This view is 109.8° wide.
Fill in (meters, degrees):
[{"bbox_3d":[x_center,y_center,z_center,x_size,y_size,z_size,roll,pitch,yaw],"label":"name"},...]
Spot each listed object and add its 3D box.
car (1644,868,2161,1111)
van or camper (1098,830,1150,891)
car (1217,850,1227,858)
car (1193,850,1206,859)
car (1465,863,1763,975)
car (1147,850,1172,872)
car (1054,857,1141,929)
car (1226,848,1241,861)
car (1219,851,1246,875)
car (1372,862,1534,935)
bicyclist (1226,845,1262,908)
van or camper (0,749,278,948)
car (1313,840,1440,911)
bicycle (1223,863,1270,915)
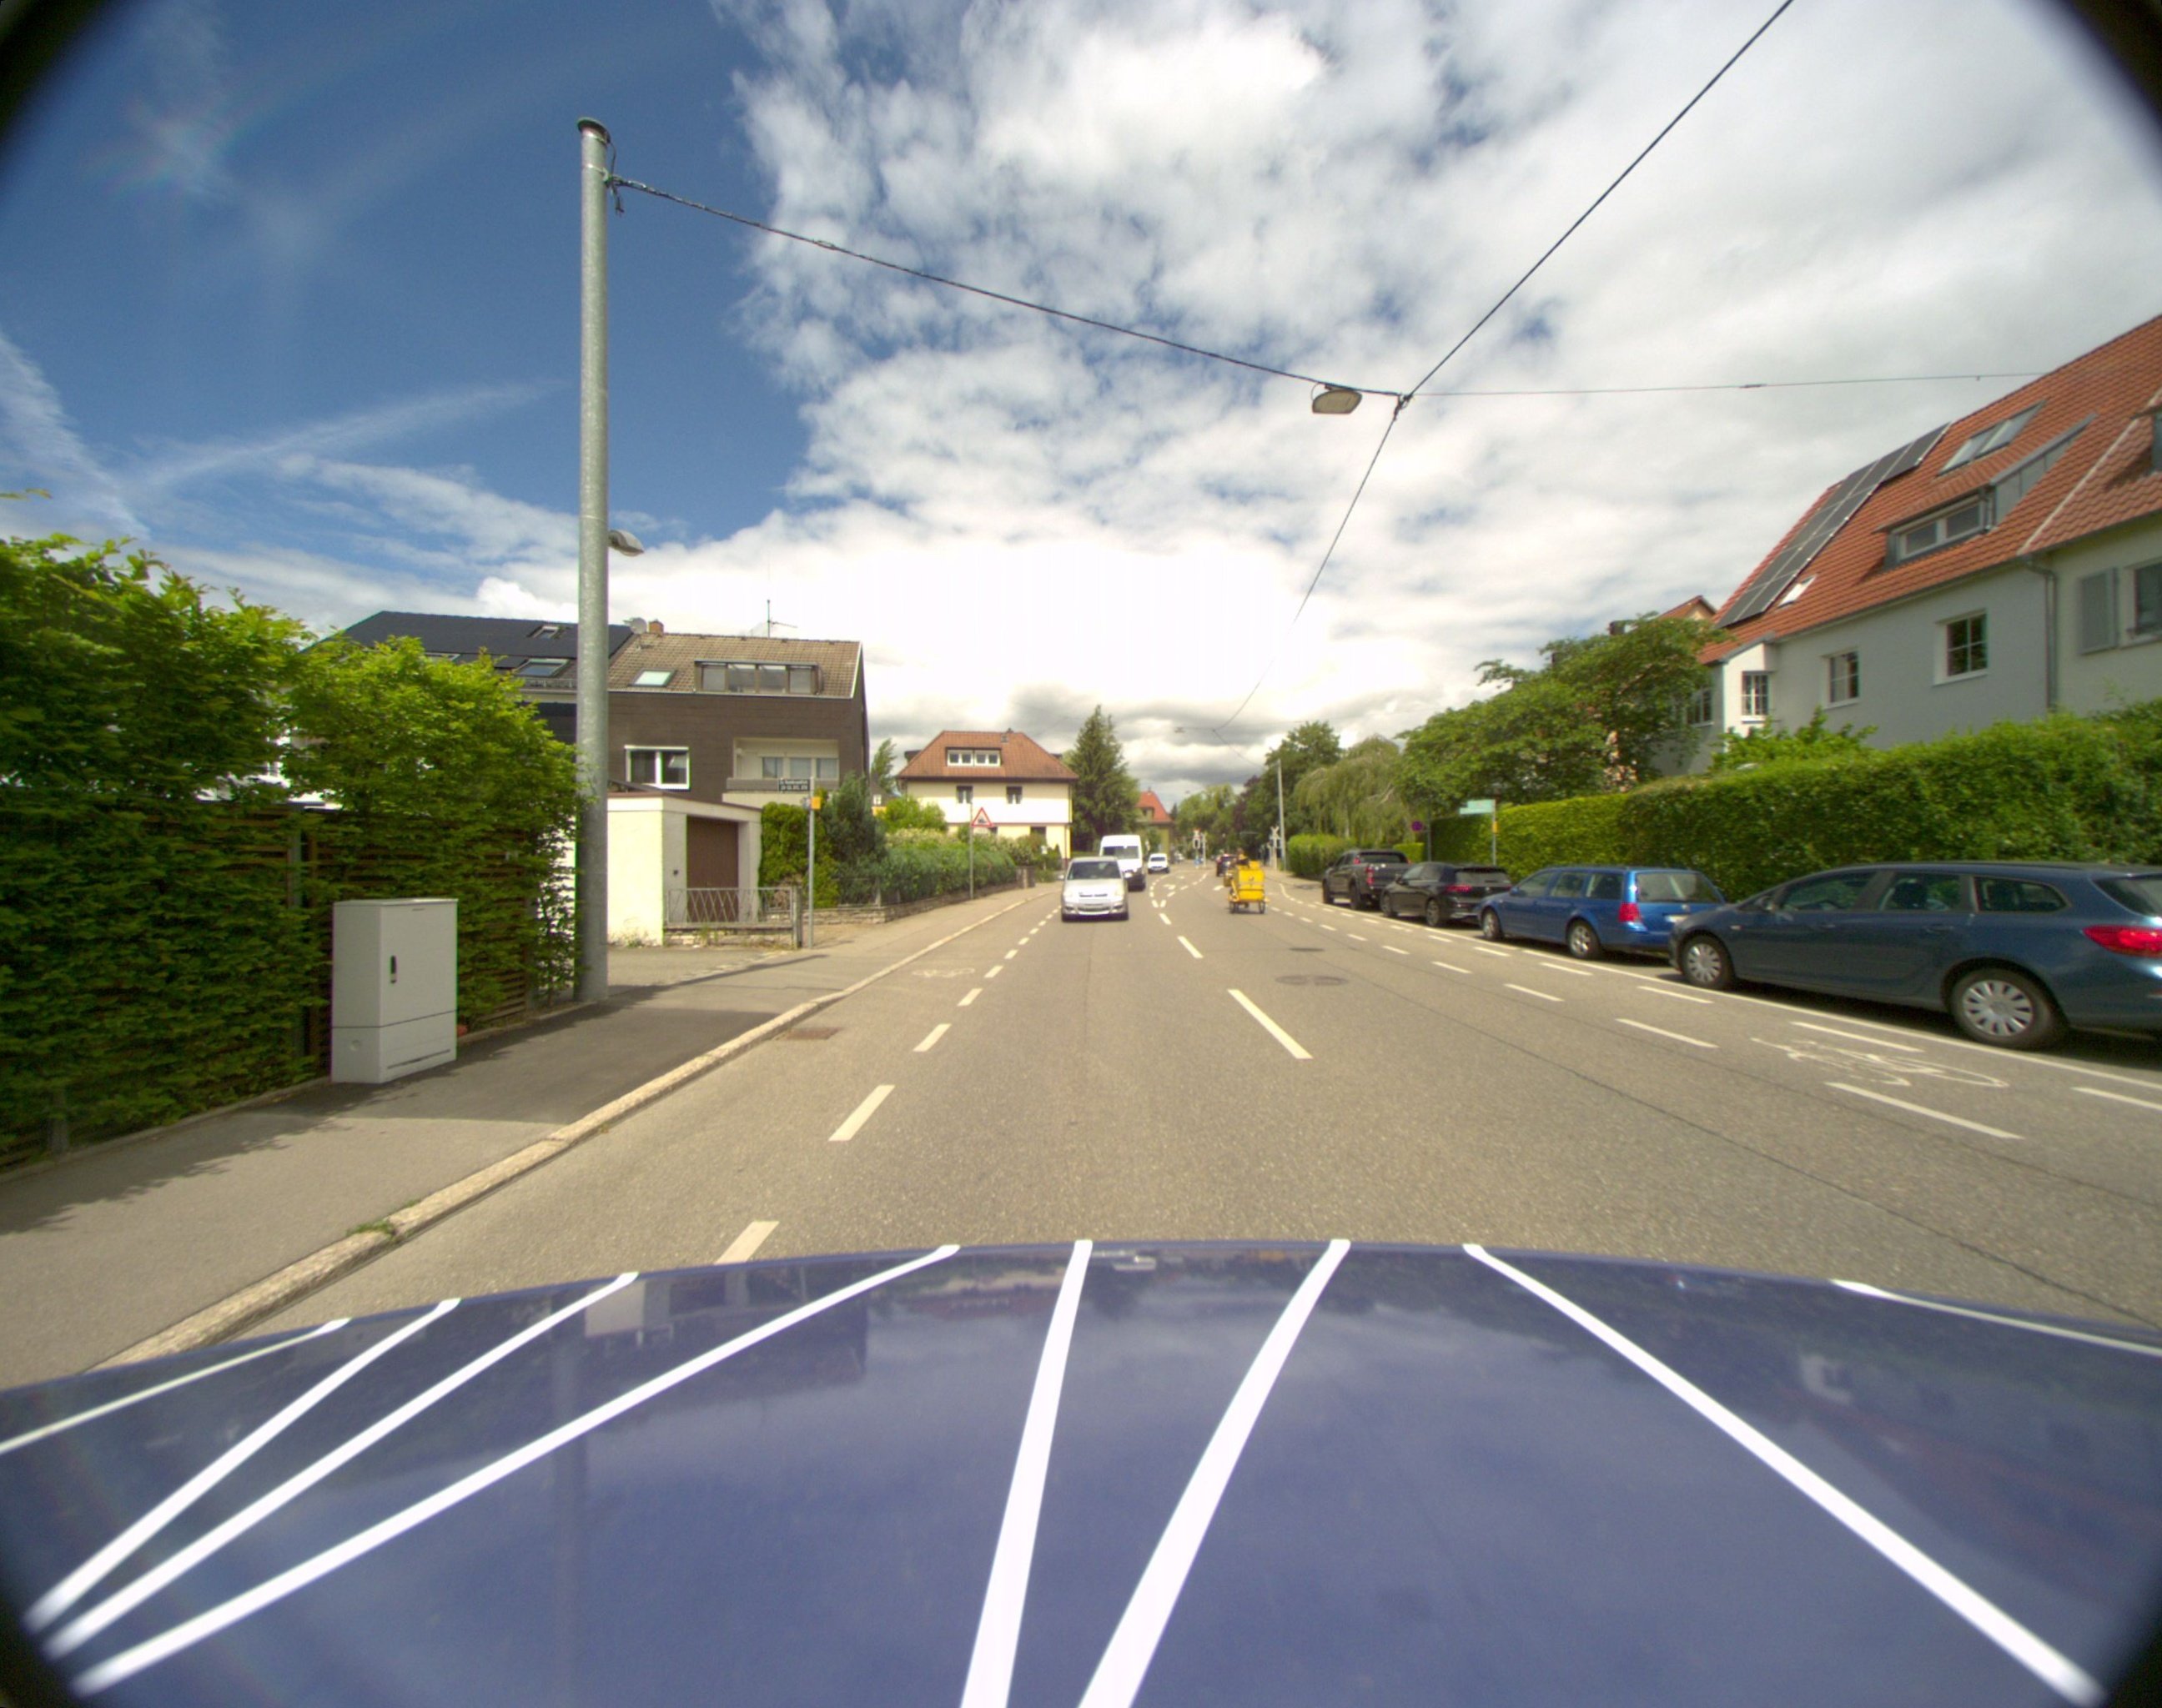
[{"bbox_3d":[7.999,0.946,7.220,1.782,1.483,4.564,-1,0,-2],"label":"car"},{"bbox_3d":[2.136,0.325,35.700,2.029,2.564,5.926,-3,-1,6],"label":"van or camper"},{"bbox_3d":[28.211,-0.028,152.019,1.931,1.412,4.003,-2,0,12],"label":"car"},{"bbox_3d":[22.248,0.050,142.476,1.997,1.419,4.003,-3,1,13],"label":"car"},{"bbox_3d":[8.270,0.894,12.405,1.782,1.409,4.440,-1,0,1],"label":"car"},{"bbox_3d":[7.159,0.604,68.926,1.931,1.771,4.003,-2,0,11],"label":"car"},{"bbox_3d":[0.534,0.897,19.478,1.707,1.531,4.333,-2,0,7],"label":"car"},{"bbox_3d":[19.926,0.032,99.433,1.850,1.565,4.162,-2,0,10],"label":"car"},{"bbox_3d":[11.500,0.676,57.901,1.919,1.639,4.296,3,1,10],"label":"car"},{"bbox_3d":[8.448,0.933,17.718,1.782,1.409,4.340,-1,0,2],"label":"car"},{"bbox_3d":[4.511,0.602,21.068,0.794,1.704,1.209,-1,1,5],"label":"bicyclist"},{"bbox_3d":[-20.207,0.030,12.860,8.693,3.283,2.414,-3,1,-23],"label":"van or camper"},{"bbox_3d":[8.837,0.570,23.297,1.998,1.884,5.404,1,0,3],"label":"car"},{"bbox_3d":[4.534,0.918,21.019,0.865,1.294,2.662,-1,0,4],"label":"bicycle"}]
